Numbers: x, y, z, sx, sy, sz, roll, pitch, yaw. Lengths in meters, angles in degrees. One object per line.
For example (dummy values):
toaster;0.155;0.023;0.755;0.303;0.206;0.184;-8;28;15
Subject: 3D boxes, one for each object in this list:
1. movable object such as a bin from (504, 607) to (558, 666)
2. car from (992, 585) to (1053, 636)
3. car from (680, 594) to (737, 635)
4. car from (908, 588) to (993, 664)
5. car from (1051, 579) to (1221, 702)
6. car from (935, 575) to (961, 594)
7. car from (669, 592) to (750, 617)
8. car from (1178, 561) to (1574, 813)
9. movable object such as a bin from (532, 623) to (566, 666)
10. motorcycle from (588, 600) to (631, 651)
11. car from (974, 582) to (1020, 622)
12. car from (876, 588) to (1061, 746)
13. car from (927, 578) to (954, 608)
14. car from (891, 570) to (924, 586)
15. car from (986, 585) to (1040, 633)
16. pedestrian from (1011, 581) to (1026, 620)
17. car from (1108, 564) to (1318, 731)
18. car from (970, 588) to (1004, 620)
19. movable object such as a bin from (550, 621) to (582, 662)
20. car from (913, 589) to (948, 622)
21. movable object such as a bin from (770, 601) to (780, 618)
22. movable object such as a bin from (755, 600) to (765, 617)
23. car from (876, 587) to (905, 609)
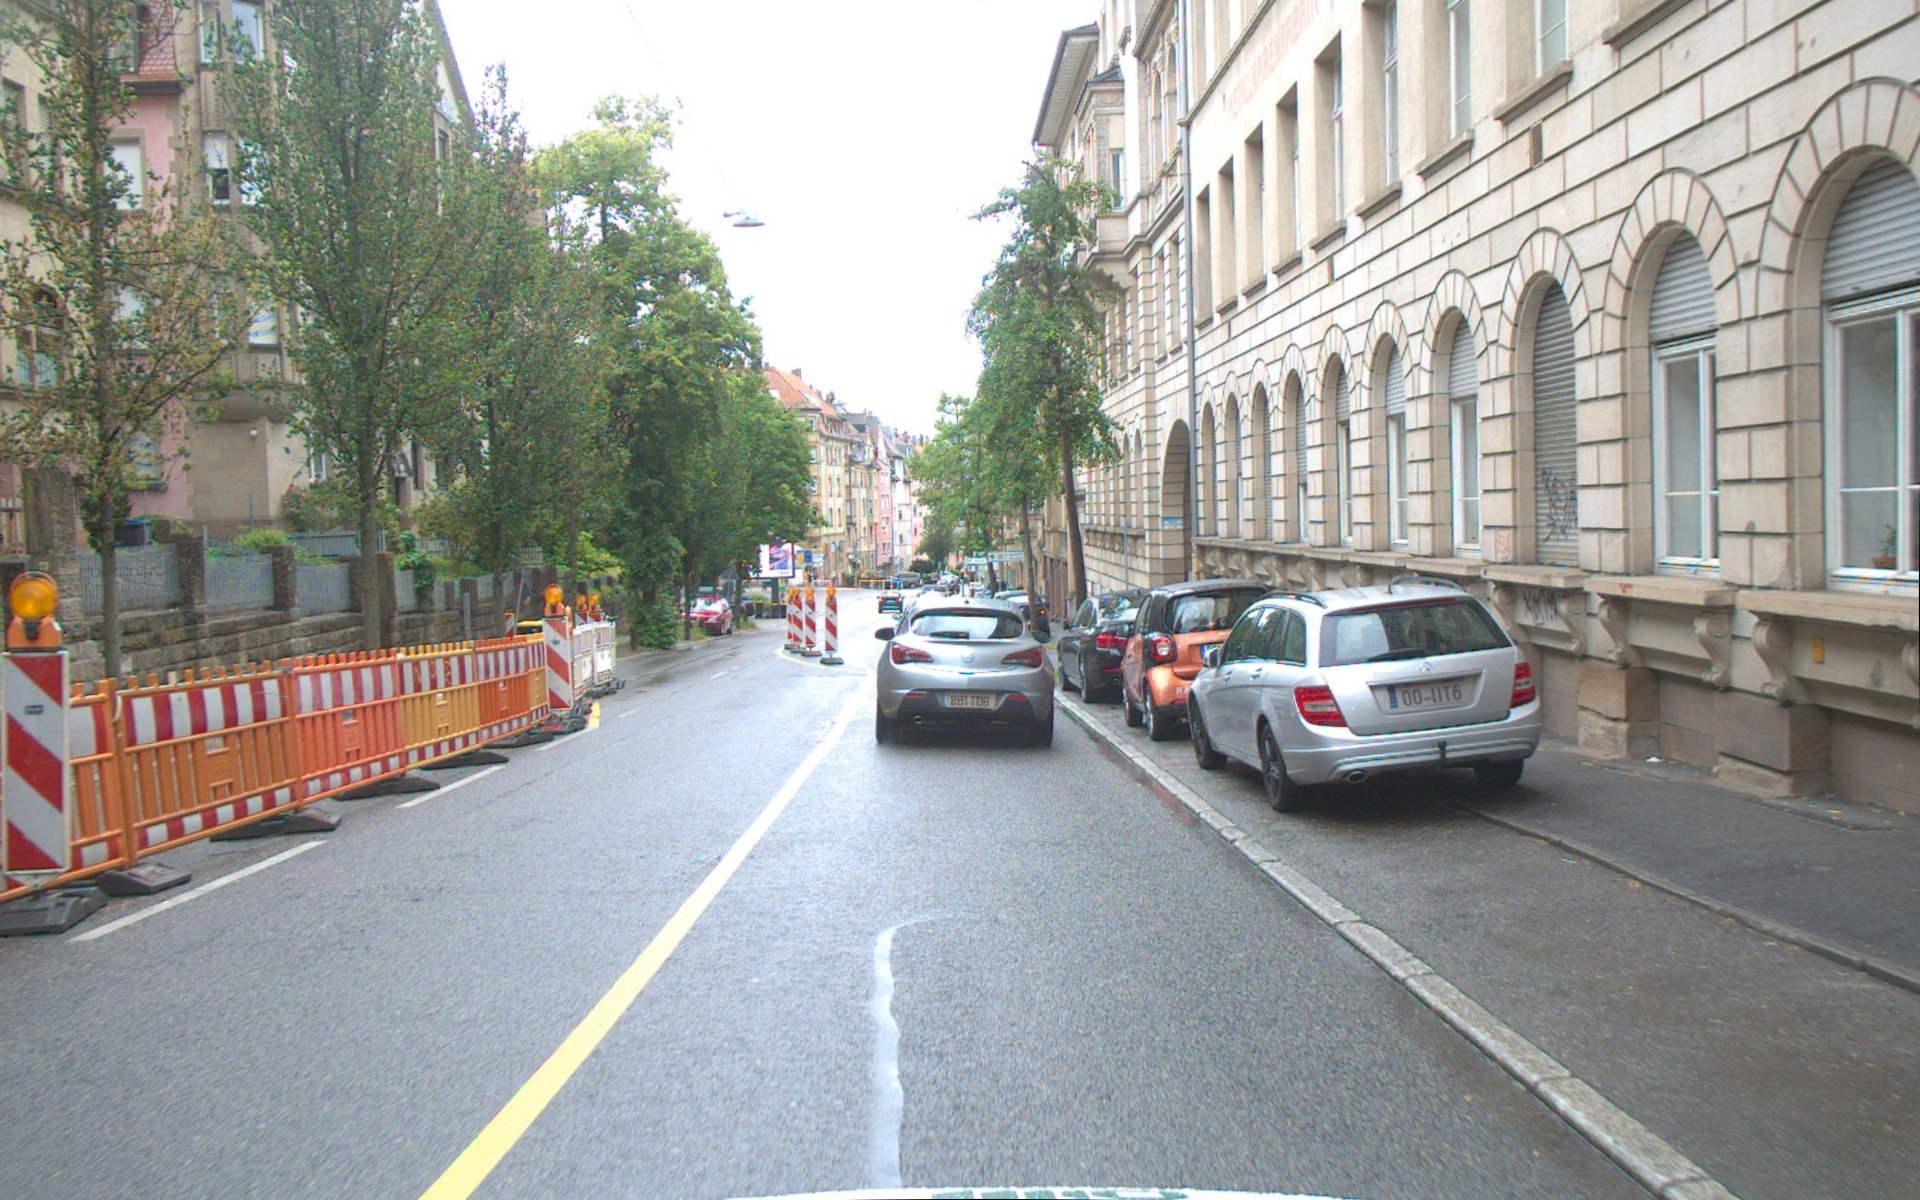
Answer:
movable object such as a bin;-9.297;0.775;35.872;0.925;1.235;0.856;1;1;0
car;1.879;0.290;50.658;1.604;1.454;3.375;-2;1;-2
car;-9.771;0.535;64.388;1.604;1.464;4.079;-2;1;-1
car;-0.206;0.516;35.873;1.736;1.530;3.869;0;1;0
car;2.441;0.507;24.032;1.722;1.486;4.722;-4;1;-2
car;-1.171;-1.514;163.026;1.951;1.713;4.003;2;0;9
car;-14.081;0.239;92.975;4.247;1.265;1.633;-2;1;-20
car;2.896;0.519;12.533;1.661;1.456;4.420;-4;1;-2
movable object such as a bin;-9.154;0.980;36.828;0.591;0.923;0.624;1;1;0
motorcycle;-9.759;0.690;46.064;0.750;1.369;2.202;1;0;-1
car;1.561;0.067;70.600;1.605;1.630;3.855;-2;1;-3
car;0.097;0.632;17.835;1.774;1.475;3.869;0;1;0
car;-1.222;-0.456;101.633;1.623;1.813;3.665;0;0;-1
car;-6.286;-2.592;199.131;3.906;1.780;1.999;2;0;-1
car;1.756;0.270;55.769;1.604;1.494;3.857;-2;1;-1
pedestrian;2.910;0.037;81.958;0.701;1.903;0.635;1;-1;-1
car;2.657;0.449;17.999;1.606;1.546;3.182;-4;1;-2
car;1.390;0.191;85.359;1.604;1.551;3.857;-2;1;-1
movable object such as a bin;-9.111;0.954;38.253;0.591;0.923;0.624;1;1;0
car;-1.527;0.268;85.339;1.624;1.569;3.663;-3;0;-3
movable object such as a bin;-12.020;0.629;107.182;0.613;1.077;0.719;2;0;-7
movable object such as a bin;-12.950;0.563;107.233;0.613;1.077;0.633;2;0;-7
car;-4.891;-0.165;116.929;1.953;1.527;3.999;-1;0;-1
